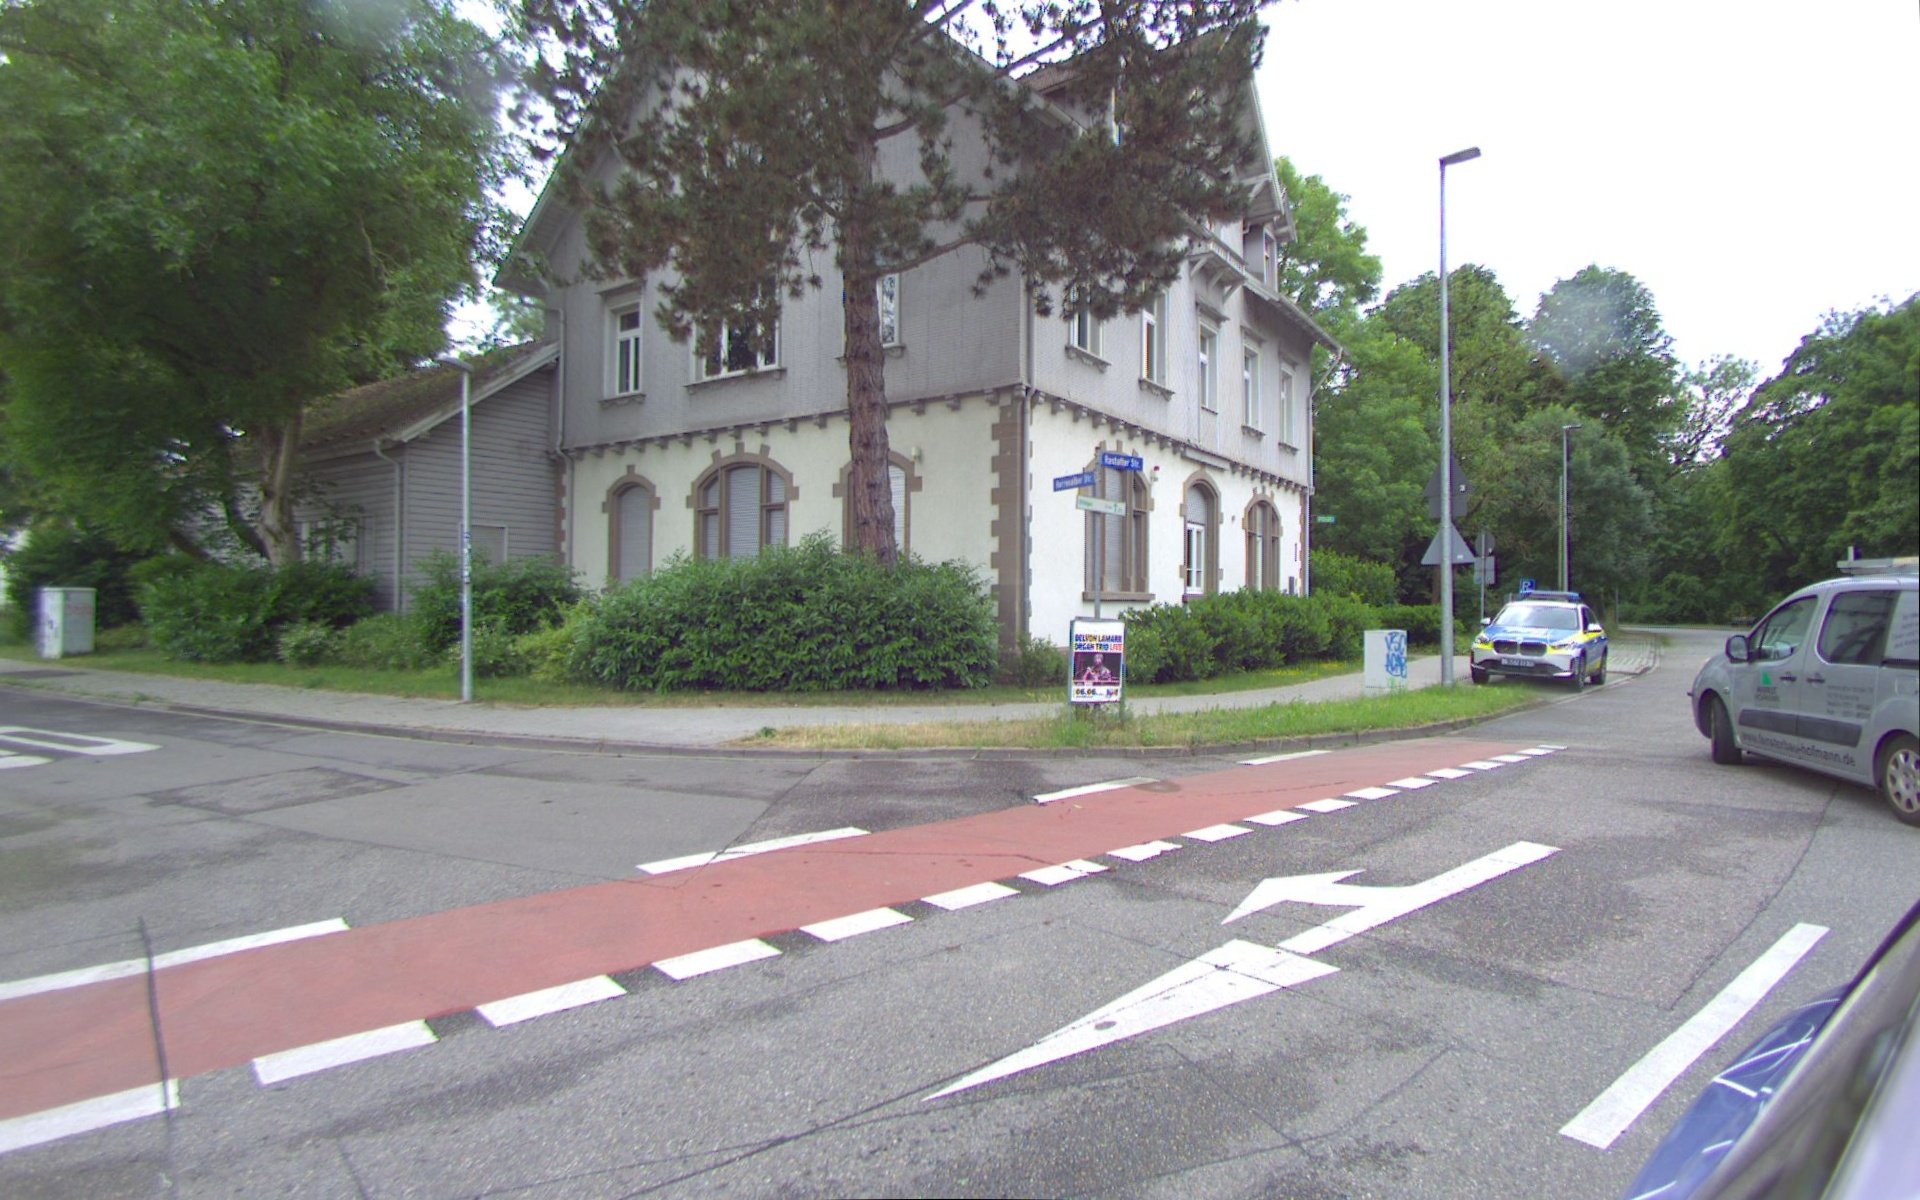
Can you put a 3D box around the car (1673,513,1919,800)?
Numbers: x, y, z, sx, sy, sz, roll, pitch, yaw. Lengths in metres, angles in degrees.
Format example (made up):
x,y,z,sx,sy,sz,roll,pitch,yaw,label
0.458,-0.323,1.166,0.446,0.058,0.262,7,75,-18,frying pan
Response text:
x,y,z,sx,sy,sz,roll,pitch,yaw,label
7.592,0.369,7.702,2.063,1.881,4.205,0,0,13,car

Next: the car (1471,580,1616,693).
x,y,z,sx,sy,sz,roll,pitch,yaw,label
11.300,0.613,19.483,1.926,1.873,3.947,3,1,37,car
